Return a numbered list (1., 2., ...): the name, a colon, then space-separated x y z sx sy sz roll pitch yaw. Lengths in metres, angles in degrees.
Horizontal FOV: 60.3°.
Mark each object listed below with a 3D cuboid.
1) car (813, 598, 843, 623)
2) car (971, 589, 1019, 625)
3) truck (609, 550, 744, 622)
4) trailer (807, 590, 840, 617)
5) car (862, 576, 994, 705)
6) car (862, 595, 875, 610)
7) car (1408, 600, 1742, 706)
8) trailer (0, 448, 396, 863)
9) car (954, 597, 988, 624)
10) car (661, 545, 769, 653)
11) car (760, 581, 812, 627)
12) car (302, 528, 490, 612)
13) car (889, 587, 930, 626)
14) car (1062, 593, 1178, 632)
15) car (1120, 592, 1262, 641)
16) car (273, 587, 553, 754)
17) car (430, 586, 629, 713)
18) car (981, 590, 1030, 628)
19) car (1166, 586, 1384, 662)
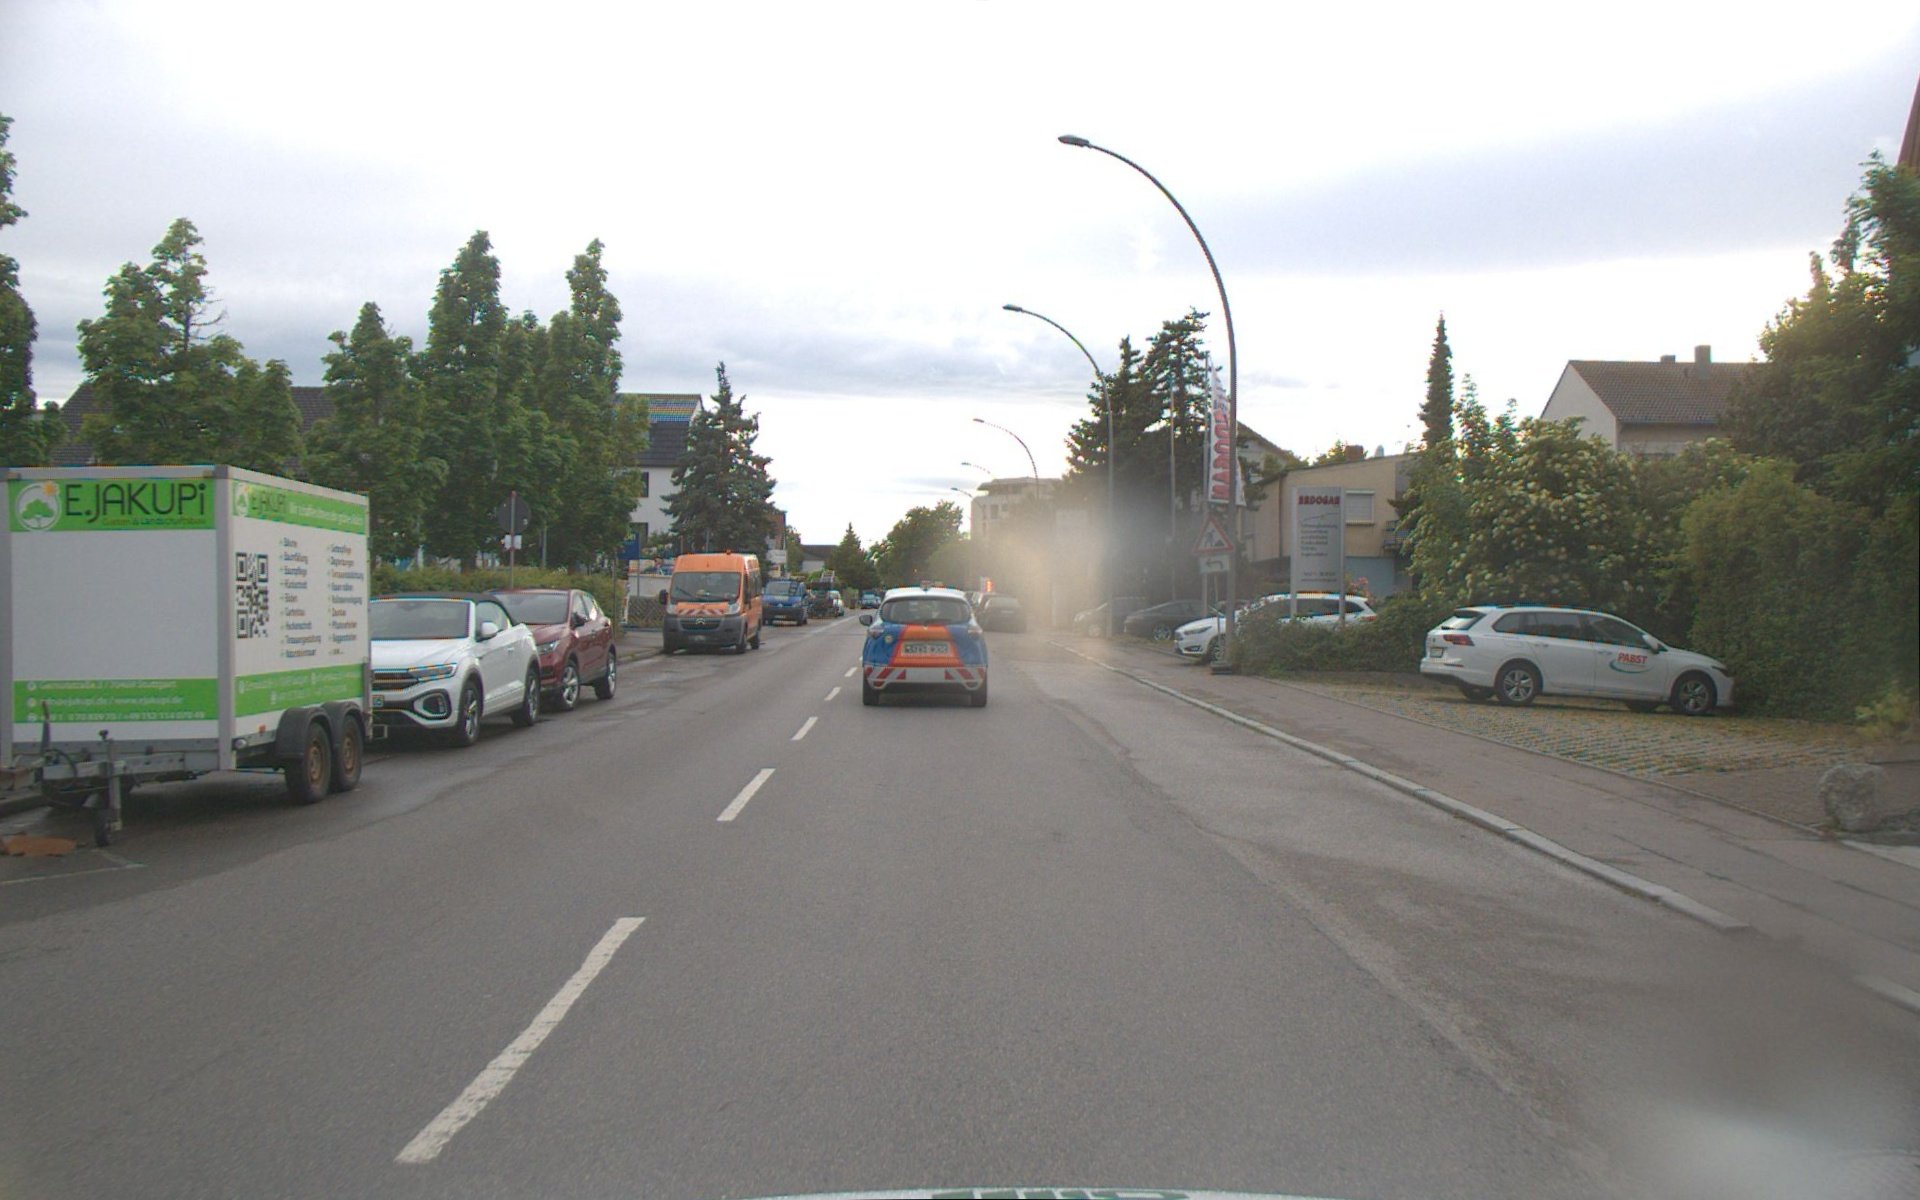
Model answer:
1. car: -7.941 0.628 99.715 1.526 1.458 3.999 2 0 -1
2. car: 1.467 0.303 70.541 1.624 1.444 4.773 2 0 -4
3. truck: -13.199 -0.627 77.286 5.791 3.127 2.449 2 0 -1
4. trailer: -7.594 0.196 92.244 1.683 1.282 5.242 2 2 -3
5. car: -0.481 0.535 23.232 1.697 1.659 3.493 0 0 -2
6. car: -9.877 0.262 178.225 1.358 1.509 3.781 0 0 -3
7. car: 9.190 0.776 24.948 4.327 1.417 1.879 2 0 -3
8. trailer: -5.691 0.317 11.834 1.776 2.354 4.728 -2 0 -2
9. car: 0.624 0.608 97.286 1.678 1.463 4.523 2 0 -4
10. car: -6.282 -0.050 43.060 2.082 2.582 6.020 -1 0 -2
11. car: -7.797 0.189 74.498 1.953 1.981 5.363 1 0 -2
12. car: -14.922 -0.774 43.960 4.219 2.049 2.062 2 0 -2
13. car: -2.185 0.268 70.609 1.617 1.548 3.997 2 0 -3
14. car: 5.801 0.446 60.261 3.908 1.288 1.950 2 0 -3
15. car: 6.750 0.488 48.611 3.905 1.288 1.951 2 0 0
16. car: -5.657 0.651 17.649 1.737 1.525 4.135 0 1 -2
17. car: -5.862 0.604 23.013 1.769 1.601 4.341 0 0 -2
18. car: 1.782 0.341 65.511 1.558 1.364 4.090 3 0 -3
19. car: 6.694 0.504 35.424 4.251 1.501 1.902 1 0 -3
